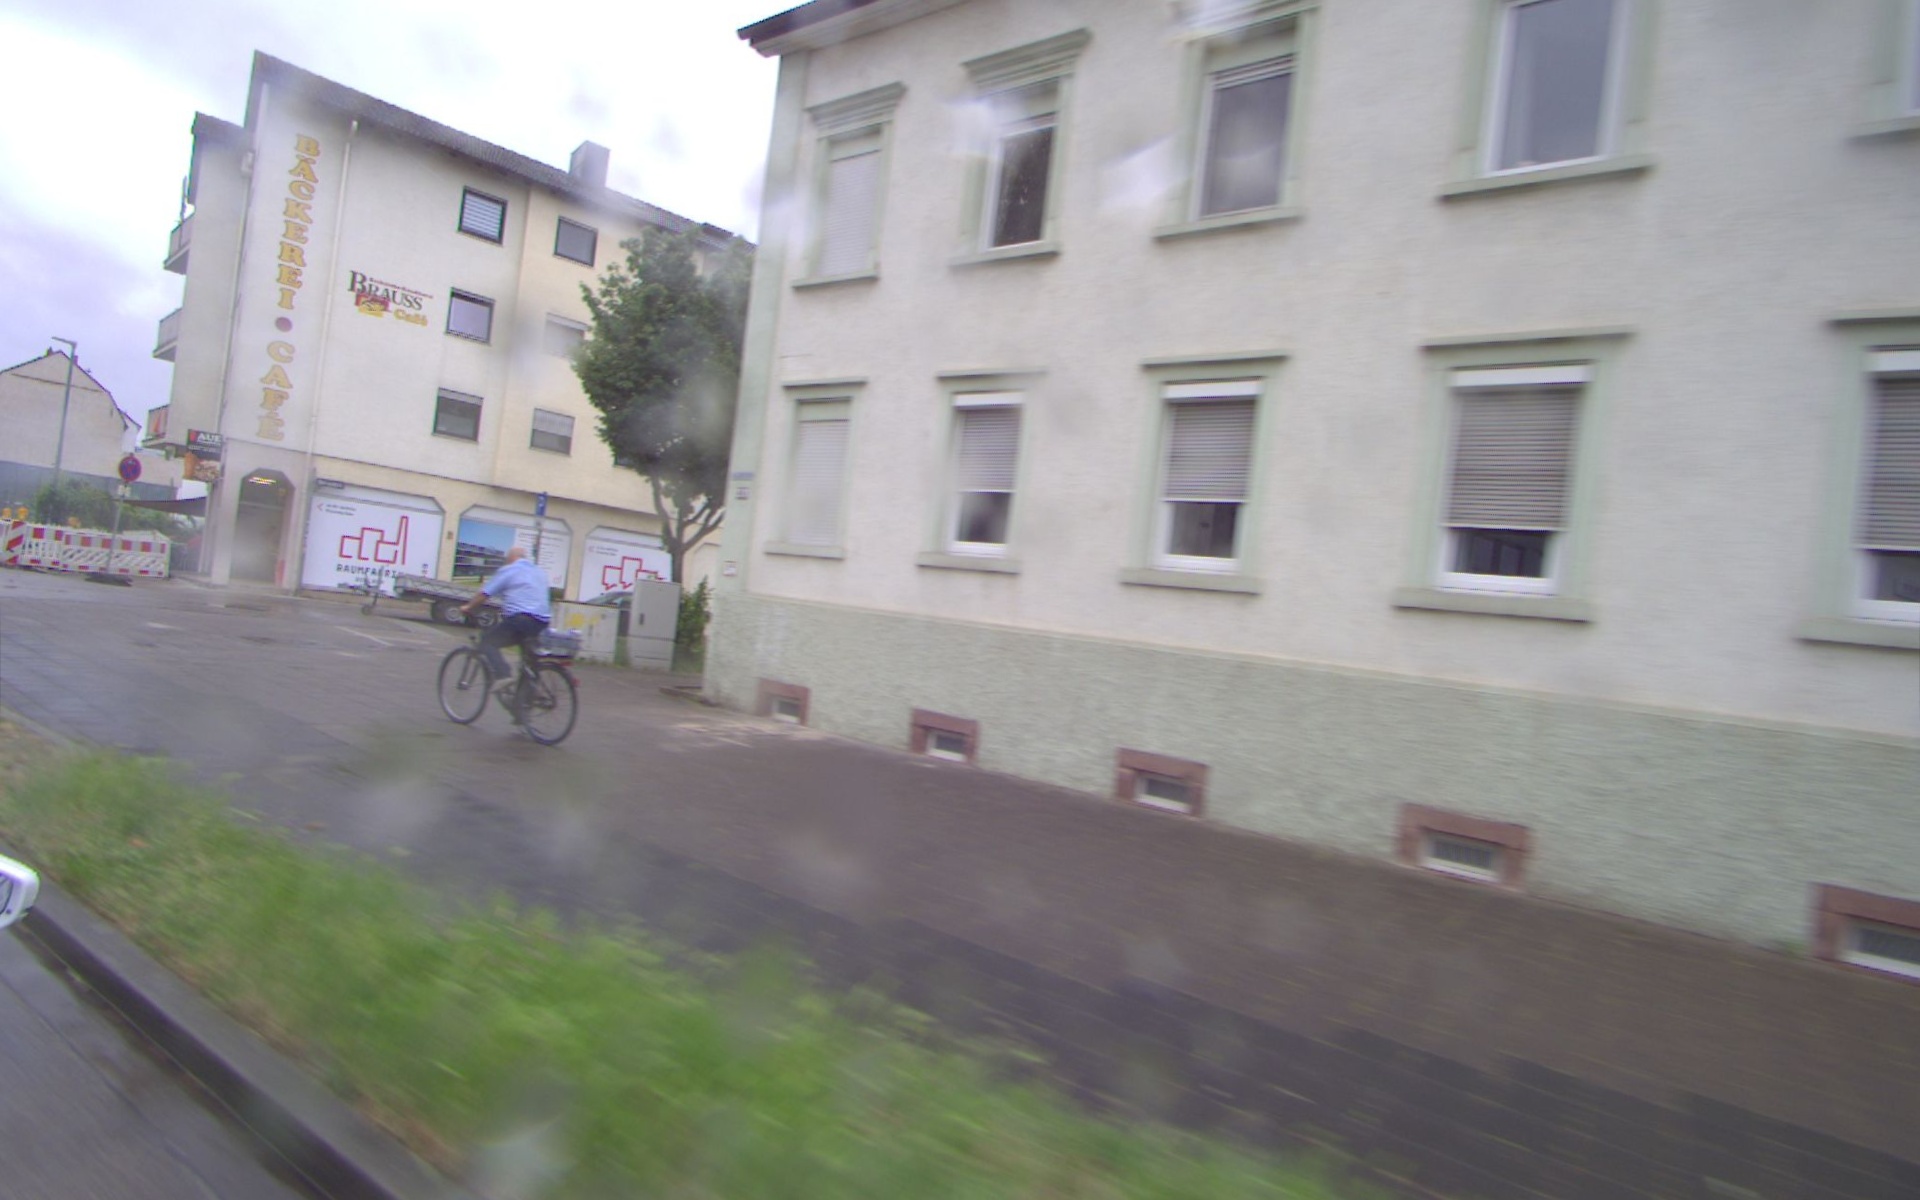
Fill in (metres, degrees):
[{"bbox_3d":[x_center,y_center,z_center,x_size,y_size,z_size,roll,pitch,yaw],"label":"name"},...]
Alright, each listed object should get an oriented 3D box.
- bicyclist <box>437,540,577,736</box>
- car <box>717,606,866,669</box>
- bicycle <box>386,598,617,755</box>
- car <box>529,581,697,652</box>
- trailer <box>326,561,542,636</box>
[{"bbox_3d":[-3.994,0.337,8.897,0.703,1.601,0.640,7,-1,26],"label":"bicyclist"},{"bbox_3d":[-5.170,1.178,31.186,4.149,1.419,1.720,9,-3,-39],"label":"car"},{"bbox_3d":[-4.096,0.657,8.954,1.937,1.072,0.675,7,-1,26],"label":"bicycle"},{"bbox_3d":[-9.574,0.466,27.877,3.970,1.419,1.720,9,-3,-38],"label":"car"},{"bbox_3d":[-13.085,-0.020,25.159,4.496,1.245,1.807,9,-3,-36],"label":"trailer"}]
